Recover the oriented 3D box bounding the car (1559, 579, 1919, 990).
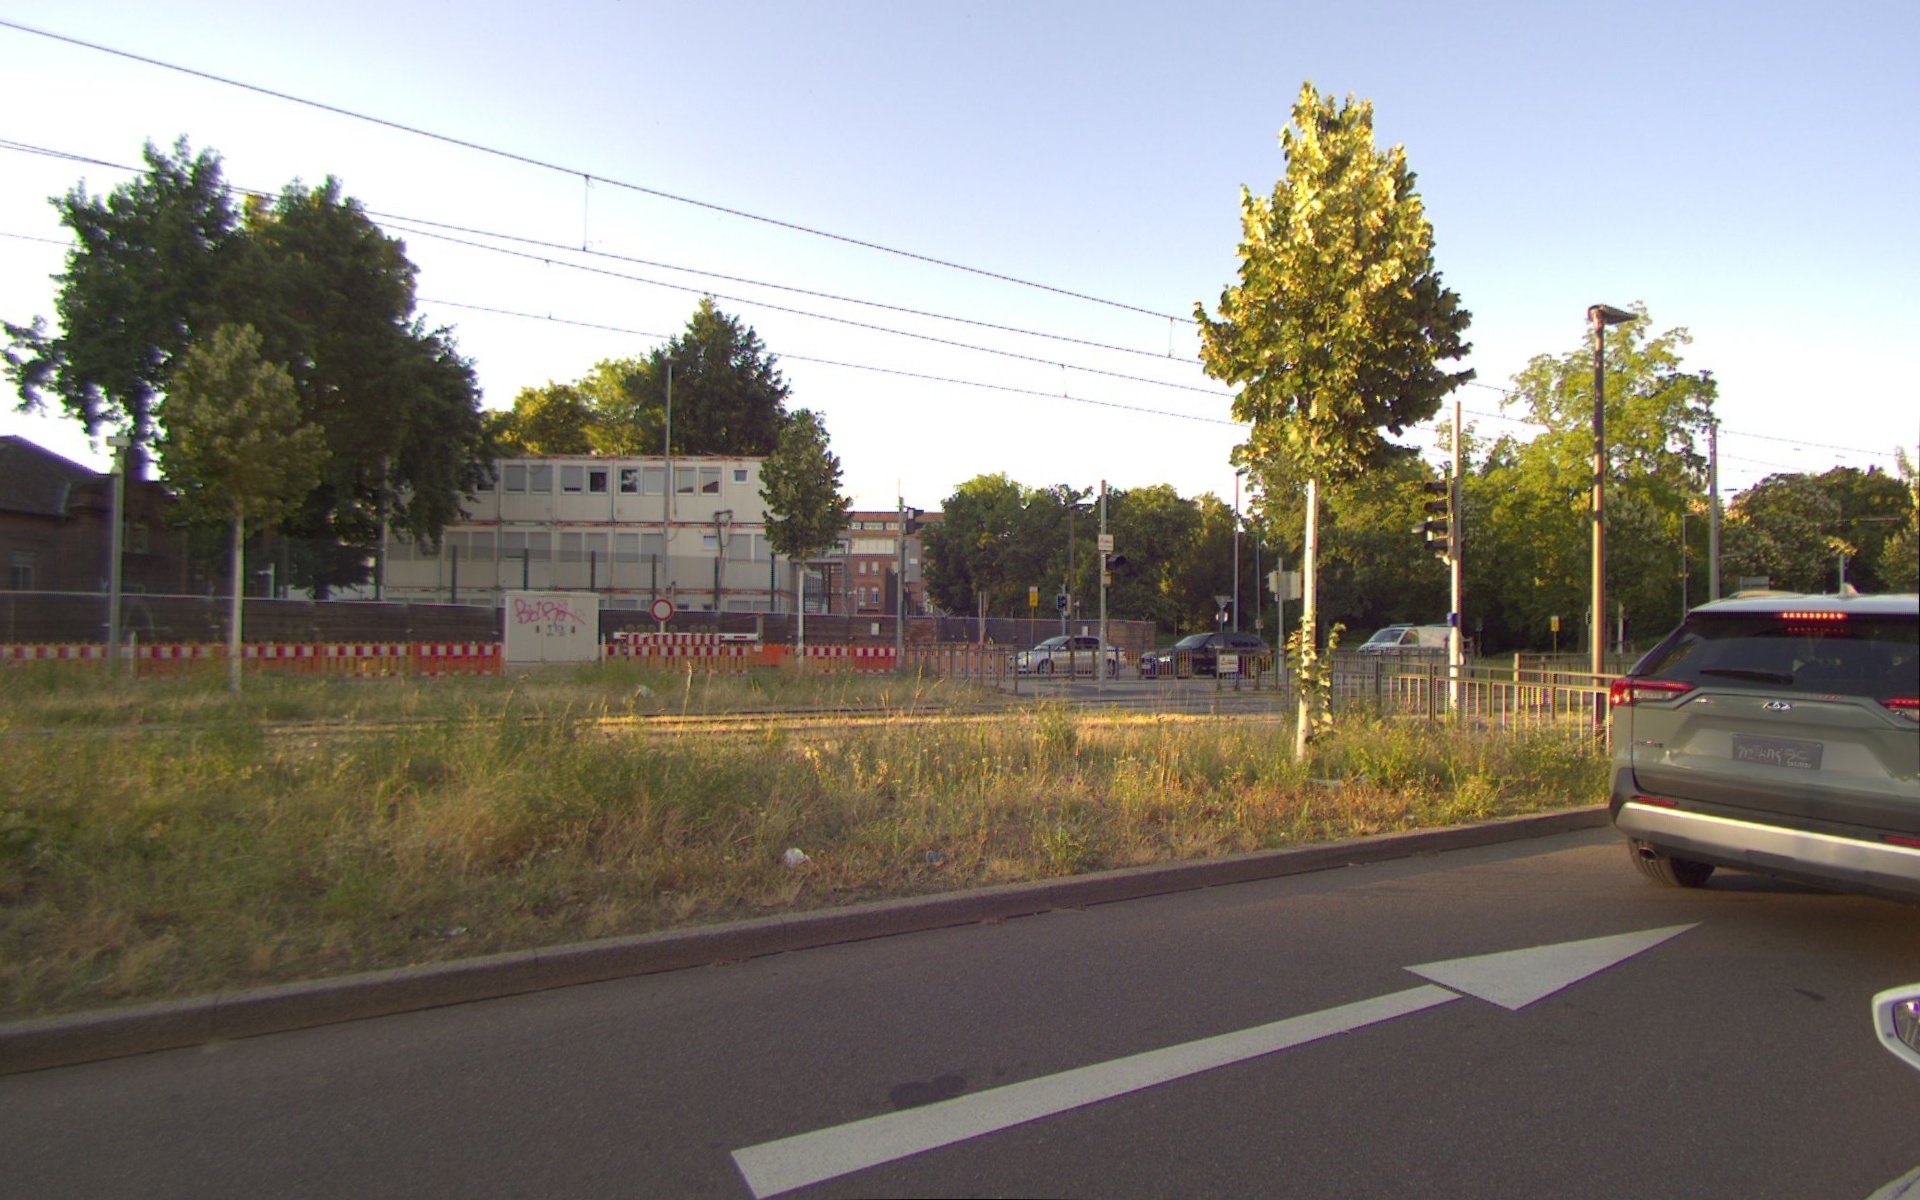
[{"bbox_3d":[5.460,0.761,5.652,4.219,1.681,1.845,0,0,-31],"label":"car"}]

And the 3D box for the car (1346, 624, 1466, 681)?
[{"bbox_3d":[18.708,2.135,42.099,4.684,2.197,1.988,0,0,-24],"label":"car"}]

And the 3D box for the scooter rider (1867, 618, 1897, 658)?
[{"bbox_3d":[35.860,1.467,39.085,0.811,1.534,0.650,-1,-2,39],"label":"scooter rider"}]

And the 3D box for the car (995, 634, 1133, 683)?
[{"bbox_3d":[3.622,1.989,34.977,4.465,1.501,1.985,0,0,-28],"label":"car"}]

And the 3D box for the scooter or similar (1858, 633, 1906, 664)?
[{"bbox_3d":[35.833,1.879,39.054,1.313,1.168,0.511,-1,-2,39],"label":"scooter or similar"}]

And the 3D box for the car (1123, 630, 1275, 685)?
[{"bbox_3d":[7.479,1.741,31.386,4.466,1.501,1.985,0,0,-28],"label":"car"}]
